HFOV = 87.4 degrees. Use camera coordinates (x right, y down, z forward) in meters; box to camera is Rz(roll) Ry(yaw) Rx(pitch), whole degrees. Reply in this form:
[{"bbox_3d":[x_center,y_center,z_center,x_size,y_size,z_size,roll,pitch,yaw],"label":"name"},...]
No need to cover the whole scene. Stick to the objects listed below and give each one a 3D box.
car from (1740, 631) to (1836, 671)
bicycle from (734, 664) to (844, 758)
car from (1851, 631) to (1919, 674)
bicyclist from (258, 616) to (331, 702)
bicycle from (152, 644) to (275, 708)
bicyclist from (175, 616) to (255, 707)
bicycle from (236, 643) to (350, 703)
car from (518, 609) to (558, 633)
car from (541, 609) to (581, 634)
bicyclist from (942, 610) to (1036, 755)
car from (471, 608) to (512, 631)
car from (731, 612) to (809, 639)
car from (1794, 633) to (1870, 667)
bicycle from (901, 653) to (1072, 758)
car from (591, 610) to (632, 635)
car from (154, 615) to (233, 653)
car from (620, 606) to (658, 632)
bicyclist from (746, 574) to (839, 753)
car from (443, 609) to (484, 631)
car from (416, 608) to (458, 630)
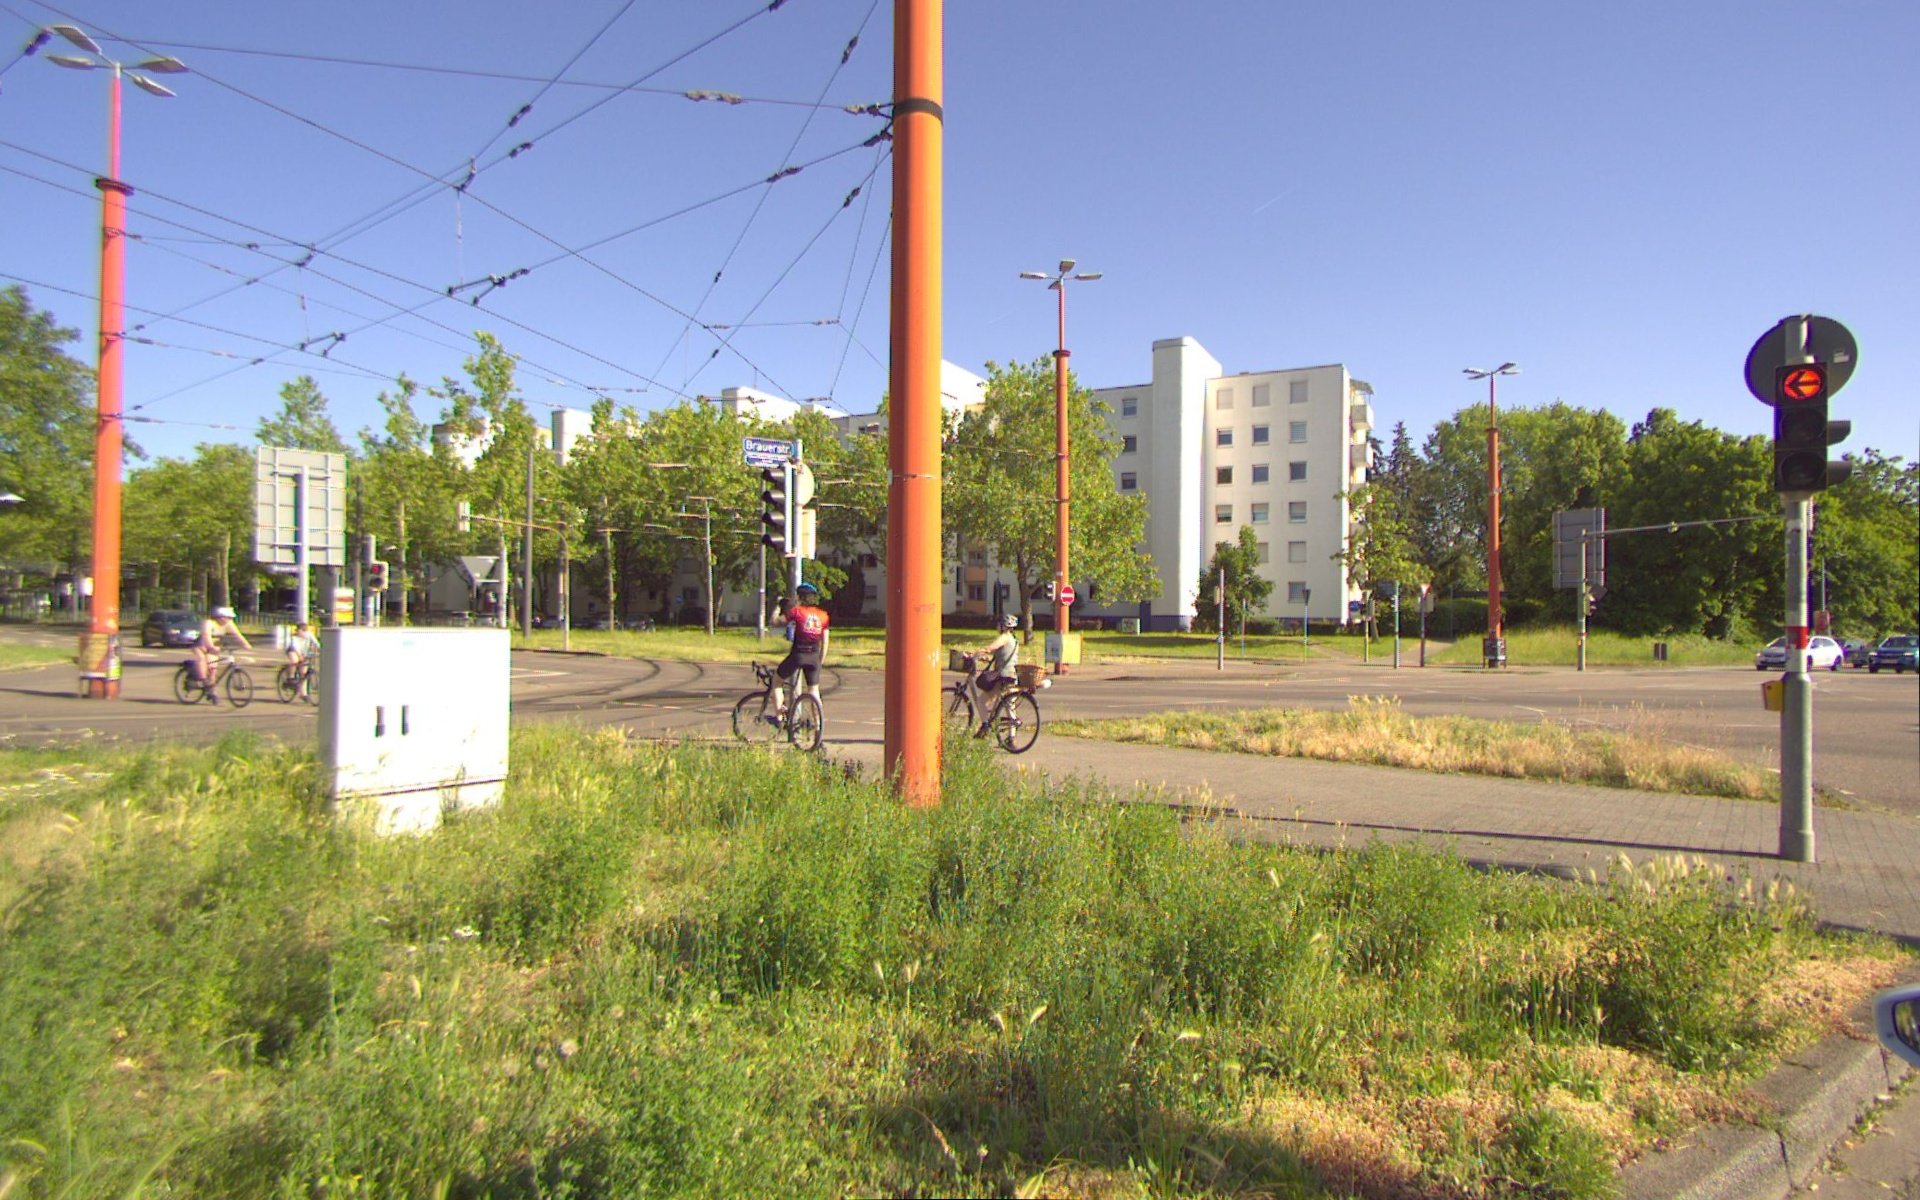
[{"bbox_3d":[35.140,2.148,42.606,4.075,1.594,1.983,1,-1,-32],"label":"car"},{"bbox_3d":[-2.117,1.305,12.234,0.915,0.976,1.747,1,-1,-24],"label":"bicycle"},{"bbox_3d":[37.264,2.036,39.865,4.079,1.594,1.981,2,-1,-35],"label":"car"},{"bbox_3d":[-13.214,1.159,19.966,0.726,1.659,0.934,0,-1,18],"label":"bicyclist"},{"bbox_3d":[-14.031,1.409,18.893,1.849,1.102,0.928,0,-1,18],"label":"bicycle"},{"bbox_3d":[-14.005,1.131,18.895,0.726,1.659,0.934,0,-1,18],"label":"bicyclist"},{"bbox_3d":[-13.254,1.440,19.978,1.849,1.102,0.928,0,-1,18],"label":"bicycle"},{"bbox_3d":[-33.814,1.668,80.525,1.963,1.840,3.995,1,-1,-8],"label":"car"},{"bbox_3d":[-31.198,1.673,78.675,1.963,1.840,3.995,1,-1,-8],"label":"car"},{"bbox_3d":[0.357,0.954,12.096,0.728,1.659,0.931,0,-1,35],"label":"bicyclist"},{"bbox_3d":[-39.290,1.638,84.323,1.963,1.840,3.995,1,-1,-8],"label":"car"},{"bbox_3d":[-10.707,1.407,56.467,4.146,1.471,1.796,0,-1,30],"label":"car"},{"bbox_3d":[44.691,2.528,51.456,4.178,1.619,1.981,1,-1,-35],"label":"car"},{"bbox_3d":[0.312,1.224,12.119,1.855,1.102,0.925,0,-1,34],"label":"bicycle"},{"bbox_3d":[-26.115,1.683,75.326,1.962,1.840,3.997,1,-1,-5],"label":"car"},{"bbox_3d":[-33.932,1.476,44.432,3.848,1.615,1.935,0,-2,39],"label":"car"},{"bbox_3d":[-23.408,1.396,73.414,1.963,1.840,3.995,1,-1,-8],"label":"car"},{"bbox_3d":[-2.008,0.743,12.004,0.921,2.040,0.736,1,-1,-25],"label":"bicyclist"},{"bbox_3d":[-42.679,1.696,86.444,1.963,1.840,3.995,1,-1,-8],"label":"car"},{"bbox_3d":[-46.028,1.673,88.473,1.963,1.840,3.995,1,-1,-8],"label":"car"}]
